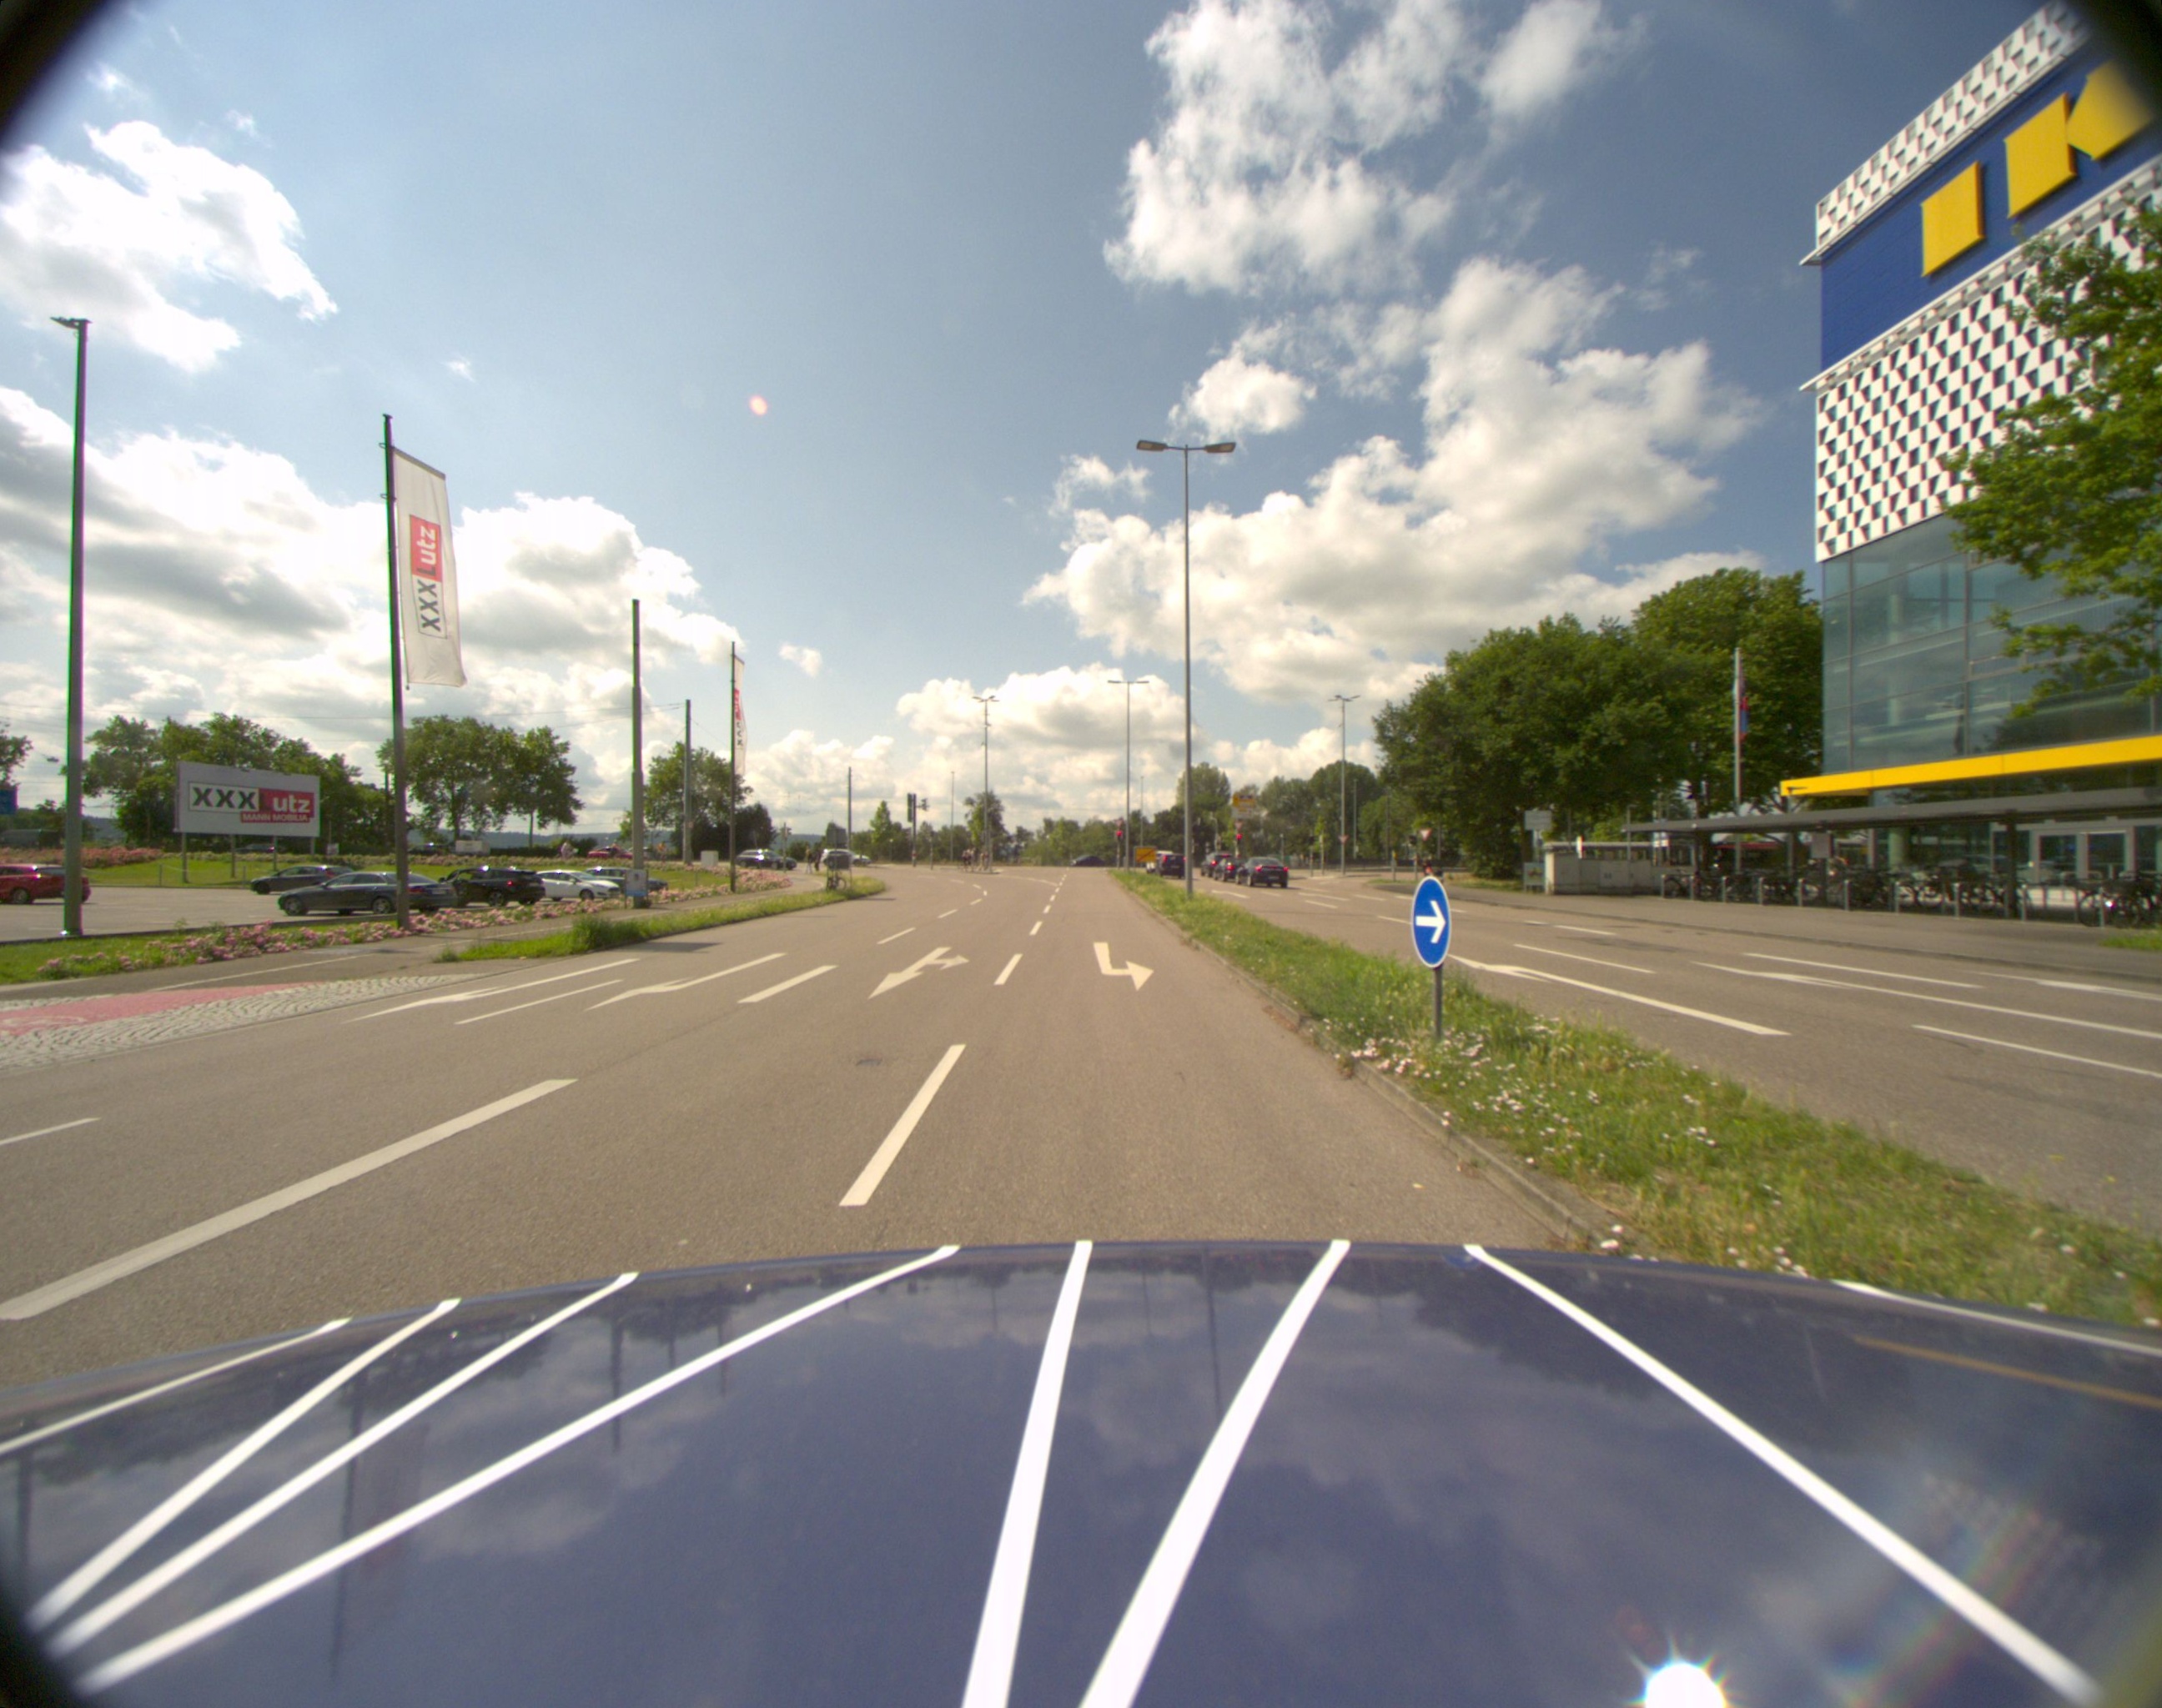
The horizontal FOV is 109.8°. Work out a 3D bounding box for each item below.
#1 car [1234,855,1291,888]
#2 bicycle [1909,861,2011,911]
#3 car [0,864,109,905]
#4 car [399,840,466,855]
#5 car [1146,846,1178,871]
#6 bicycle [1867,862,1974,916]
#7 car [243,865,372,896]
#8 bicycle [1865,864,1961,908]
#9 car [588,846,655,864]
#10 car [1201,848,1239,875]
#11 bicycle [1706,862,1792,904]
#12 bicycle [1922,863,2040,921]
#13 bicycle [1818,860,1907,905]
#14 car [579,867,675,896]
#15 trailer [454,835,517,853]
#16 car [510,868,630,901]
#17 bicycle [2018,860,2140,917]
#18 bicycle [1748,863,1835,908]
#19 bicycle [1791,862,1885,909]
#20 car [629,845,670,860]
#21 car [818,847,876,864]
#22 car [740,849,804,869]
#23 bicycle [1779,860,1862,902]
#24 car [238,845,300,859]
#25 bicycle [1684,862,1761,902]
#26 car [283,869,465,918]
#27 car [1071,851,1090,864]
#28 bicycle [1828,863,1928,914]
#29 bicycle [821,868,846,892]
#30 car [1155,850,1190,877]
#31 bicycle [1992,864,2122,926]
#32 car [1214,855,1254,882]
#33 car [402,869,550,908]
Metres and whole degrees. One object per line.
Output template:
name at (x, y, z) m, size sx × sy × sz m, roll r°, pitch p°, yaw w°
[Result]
car at (8.886, 0.805, 37.468) m, size 1.668 × 1.413 × 4.518 m, roll 2°, pitch 0°, yaw 0°
bicycle at (22.947, 0.834, 19.854) m, size 1.930 × 1.265 × 0.630 m, roll -1°, pitch 0°, yaw 0°
car at (-38.983, 1.091, 27.869) m, size 4.369 × 1.418 × 1.847 m, roll 1°, pitch -1°, yaw 2°
car at (-70.423, -0.736, 82.598) m, size 5.252 × 1.565 × 1.998 m, roll 0°, pitch 1°, yaw -8°
car at (5.662, 0.271, 53.440) m, size 1.712 × 1.610 × 4.377 m, roll 1°, pitch 1°, yaw -1°
bicycle at (20.724, 0.856, 18.772) m, size 1.930 × 1.265 × 0.630 m, roll -1°, pitch 0°, yaw 0°
car at (-38.484, 1.294, 37.861) m, size 4.369 × 1.400 × 2.050 m, roll 1°, pitch -1°, yaw 2°
bicycle at (22.829, 0.874, 20.856) m, size 1.930 × 1.176 × 0.630 m, roll -1°, pitch 0°, yaw 0°
car at (-36.454, 0.036, 60.371) m, size 4.245 × 1.352 × 1.749 m, roll 1°, pitch 1°, yaw 1°
car at (9.290, 0.451, 51.016) m, size 1.775 × 1.606 × 3.999 m, roll 2°, pitch 1°, yaw 0°
bicycle at (20.608, 0.892, 23.459) m, size 2.094 × 1.265 × 0.630 m, roll -1°, pitch 0°, yaw 0°
bicycle at (20.560, 0.853, 17.381) m, size 1.930 × 1.265 × 0.630 m, roll -1°, pitch 0°, yaw 0°
bicycle at (22.848, 0.827, 22.230) m, size 1.930 × 1.265 × 0.630 m, roll -1°, pitch 0°, yaw 0°
car at (-23.842, 1.422, 40.022) m, size 3.997 × 1.410 × 1.715 m, roll 0°, pitch 1°, yaw -1°
trailer at (-65.235, -1.084, 83.360) m, size 5.182 × 1.820 × 1.823 m, roll -1°, pitch 1°, yaw -8°
car at (-23.712, 1.403, 35.365) m, size 4.369 × 1.431 × 1.796 m, roll 0°, pitch 0°, yaw 1°
bicycle at (22.815, 0.784, 17.385) m, size 1.930 × 1.265 × 0.630 m, roll -1°, pitch 0°, yaw 0°
bicycle at (20.743, 0.907, 22.190) m, size 1.930 × 1.265 × 0.630 m, roll -1°, pitch 0°, yaw 0°
bicycle at (20.827, 0.862, 20.926) m, size 1.930 × 1.265 × 0.630 m, roll -1°, pitch 0°, yaw 0°
car at (-47.858, -0.134, 84.386) m, size 3.491 × 1.448 × 1.699 m, roll -3°, pitch 3°, yaw -8°
car at (-20.762, 0.145, 67.499) m, size 4.495 × 1.405 × 2.013 m, roll 0°, pitch 0°, yaw -3°
car at (-23.636, 0.353, 58.217) m, size 4.194 × 1.474 × 1.918 m, roll 1°, pitch 1°, yaw 14°
bicycle at (22.913, 0.832, 23.553) m, size 1.930 × 1.265 × 0.630 m, roll -1°, pitch 0°, yaw 0°
car at (-91.424, -0.217, 85.614) m, size 4.779 × 1.499 × 1.968 m, roll 0°, pitch -2°, yaw -1°
bicycle at (20.706, 0.898, 24.537) m, size 1.930 × 1.265 × 0.630 m, roll -1°, pitch 0°, yaw 0°
car at (-23.401, 1.297, 25.273) m, size 4.369 × 1.468 × 1.857 m, roll -1°, pitch 0°, yaw 2°
car at (-0.030, 0.367, 83.824) m, size 1.796 × 1.311 × 4.164 m, roll -1°, pitch 0°, yaw 3°
bicycle at (20.786, 0.890, 19.830) m, size 1.930 × 1.265 × 0.630 m, roll -1°, pitch 0°, yaw 0°
bicycle at (-10.390, 1.078, 31.975) m, size 0.518 × 0.947 × 1.543 m, roll -1°, pitch 1°, yaw 0°
car at (5.537, 0.540, 46.475) m, size 1.608 × 1.485 × 4.131 m, roll 2°, pitch 1°, yaw 0°
bicycle at (20.664, 0.863, 16.115) m, size 1.930 × 1.265 × 0.630 m, roll -1°, pitch 0°, yaw 0°
car at (8.654, 0.774, 43.202) m, size 1.415 × 1.383 × 4.096 m, roll 2°, pitch 1°, yaw 0°
car at (-23.984, 1.360, 30.240) m, size 4.369 × 1.408 × 1.857 m, roll -1°, pitch 0°, yaw 1°
